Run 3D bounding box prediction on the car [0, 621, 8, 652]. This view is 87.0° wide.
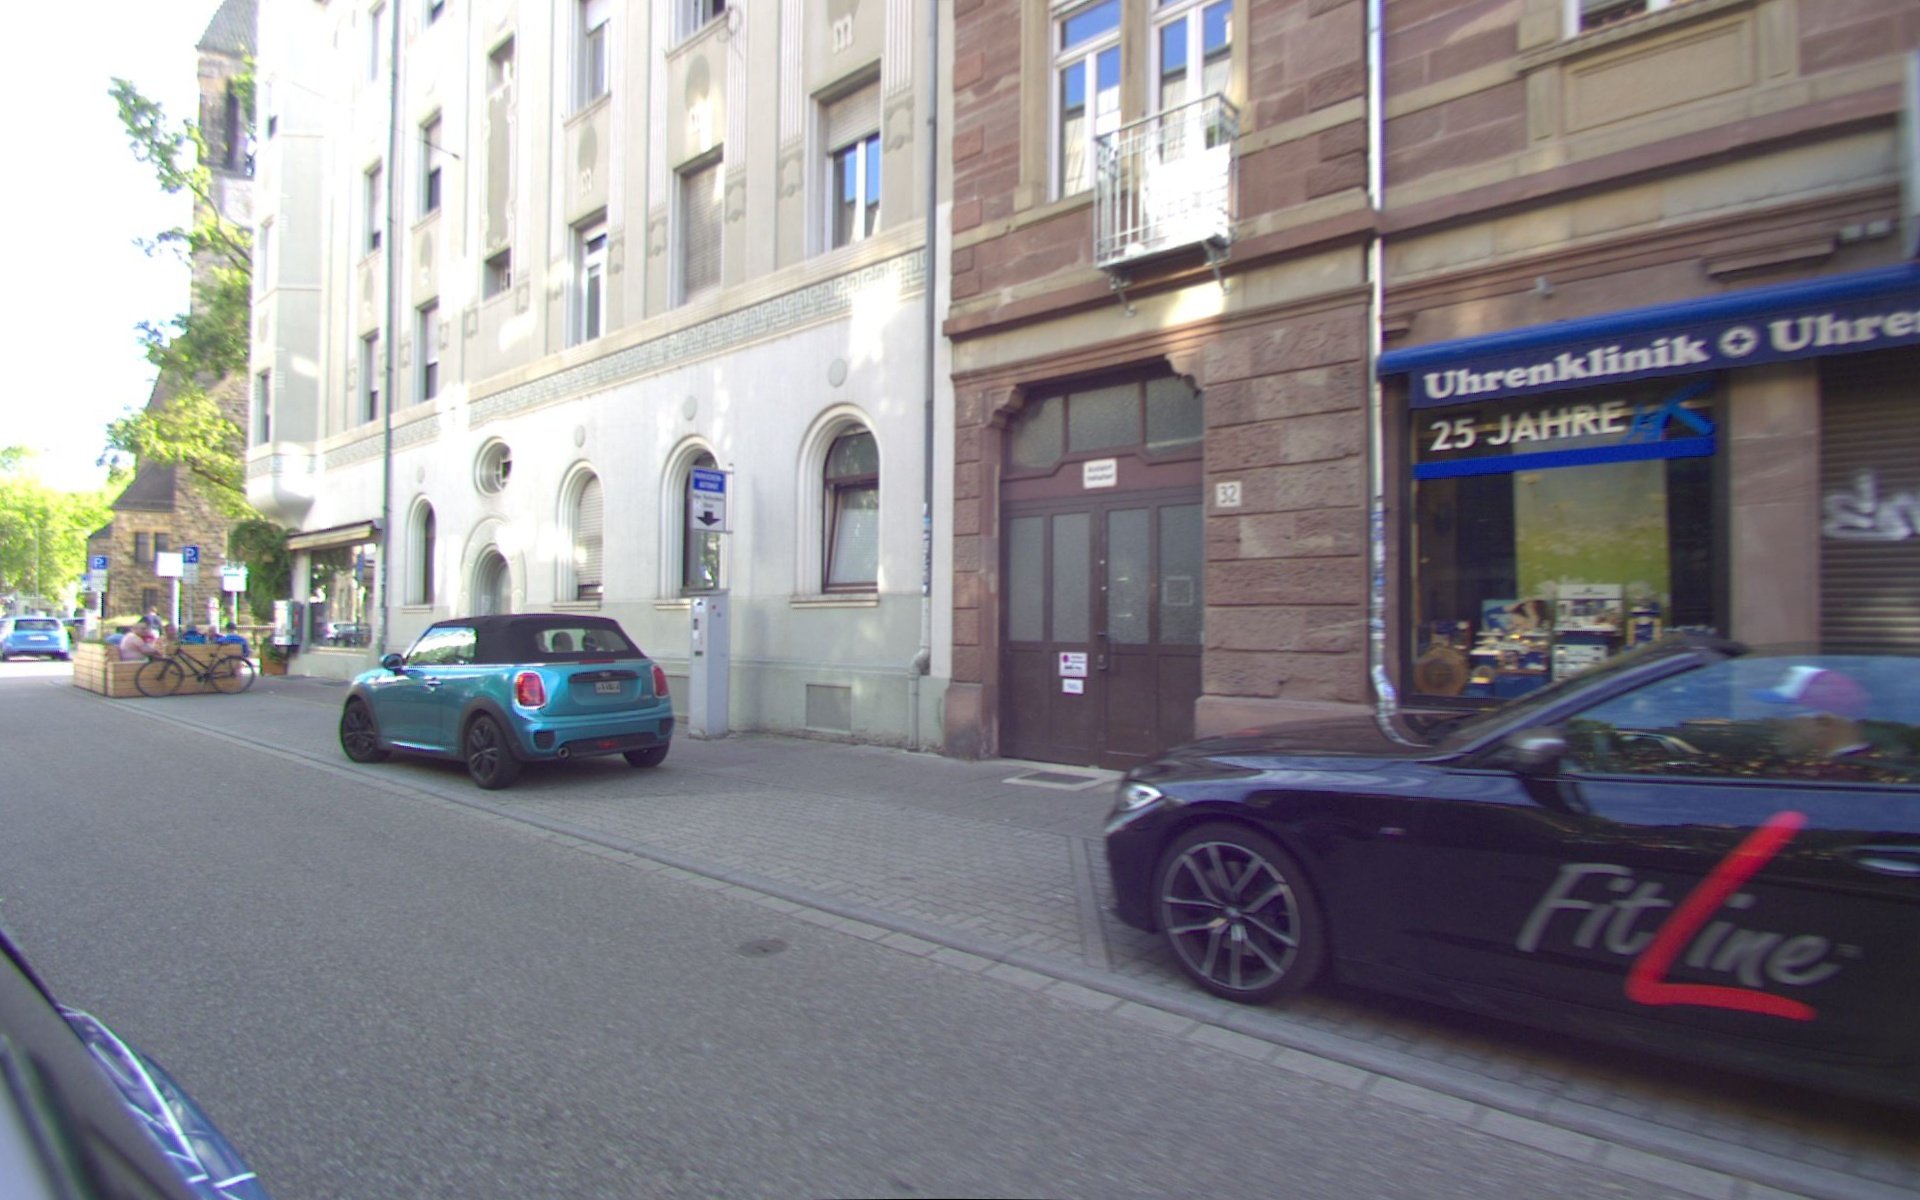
[{"bbox_3d":[-45.915,1.691,47.163,3.999,1.431,1.886,-1,-1,42],"label":"car"}]

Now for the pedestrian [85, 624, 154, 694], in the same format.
[{"bbox_3d":[-17.367,1.197,20.932,1.073,1.383,0.896,0,-1,-40],"label":"pedestrian"}]

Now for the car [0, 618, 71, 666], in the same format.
[{"bbox_3d":[-31.503,1.385,34.130,4.168,1.497,1.804,-1,-1,42],"label":"car"}]

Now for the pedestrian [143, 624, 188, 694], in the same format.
[{"bbox_3d":[-15.738,1.145,20.055,0.658,1.346,0.740,0,-1,-42],"label":"pedestrian"}]

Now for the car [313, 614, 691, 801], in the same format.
[{"bbox_3d":[-4.489,0.864,9.677,4.007,1.426,1.653,-1,-1,38],"label":"car"}]

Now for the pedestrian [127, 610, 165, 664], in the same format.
[{"bbox_3d":[-26.475,1.188,32.906,0.879,1.722,0.834,-1,-1,42],"label":"pedestrian"}]

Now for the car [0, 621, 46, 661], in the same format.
[{"bbox_3d":[-35.981,1.510,38.136,3.999,1.431,1.886,-1,-1,42],"label":"car"}]

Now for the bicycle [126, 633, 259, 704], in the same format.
[{"bbox_3d":[-13.901,1.205,18.370,0.688,1.184,1.847,-1,-1,43],"label":"bicycle"}]

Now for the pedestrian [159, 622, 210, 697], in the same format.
[{"bbox_3d":[-14.688,1.105,19.165,0.680,1.383,0.740,0,-1,-45],"label":"pedestrian"}]

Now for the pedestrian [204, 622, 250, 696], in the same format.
[{"bbox_3d":[-14.185,1.131,19.583,0.628,1.383,0.684,0,-1,-45],"label":"pedestrian"}]

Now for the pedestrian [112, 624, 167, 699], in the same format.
[{"bbox_3d":[-15.497,1.143,19.121,0.644,1.359,0.729,-1,-1,44],"label":"pedestrian"}]

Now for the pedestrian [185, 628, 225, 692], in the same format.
[{"bbox_3d":[-15.254,1.190,20.443,0.589,1.253,0.694,0,-1,-42],"label":"pedestrian"}]

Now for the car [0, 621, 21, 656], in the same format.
[{"bbox_3d":[-40.805,1.597,42.343,3.999,1.431,1.886,-1,-1,42],"label":"car"}]

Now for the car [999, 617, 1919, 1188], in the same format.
[{"bbox_3d":[2.675,0.739,3.290,5.112,1.361,1.793,-1,-1,41],"label":"car"}]
